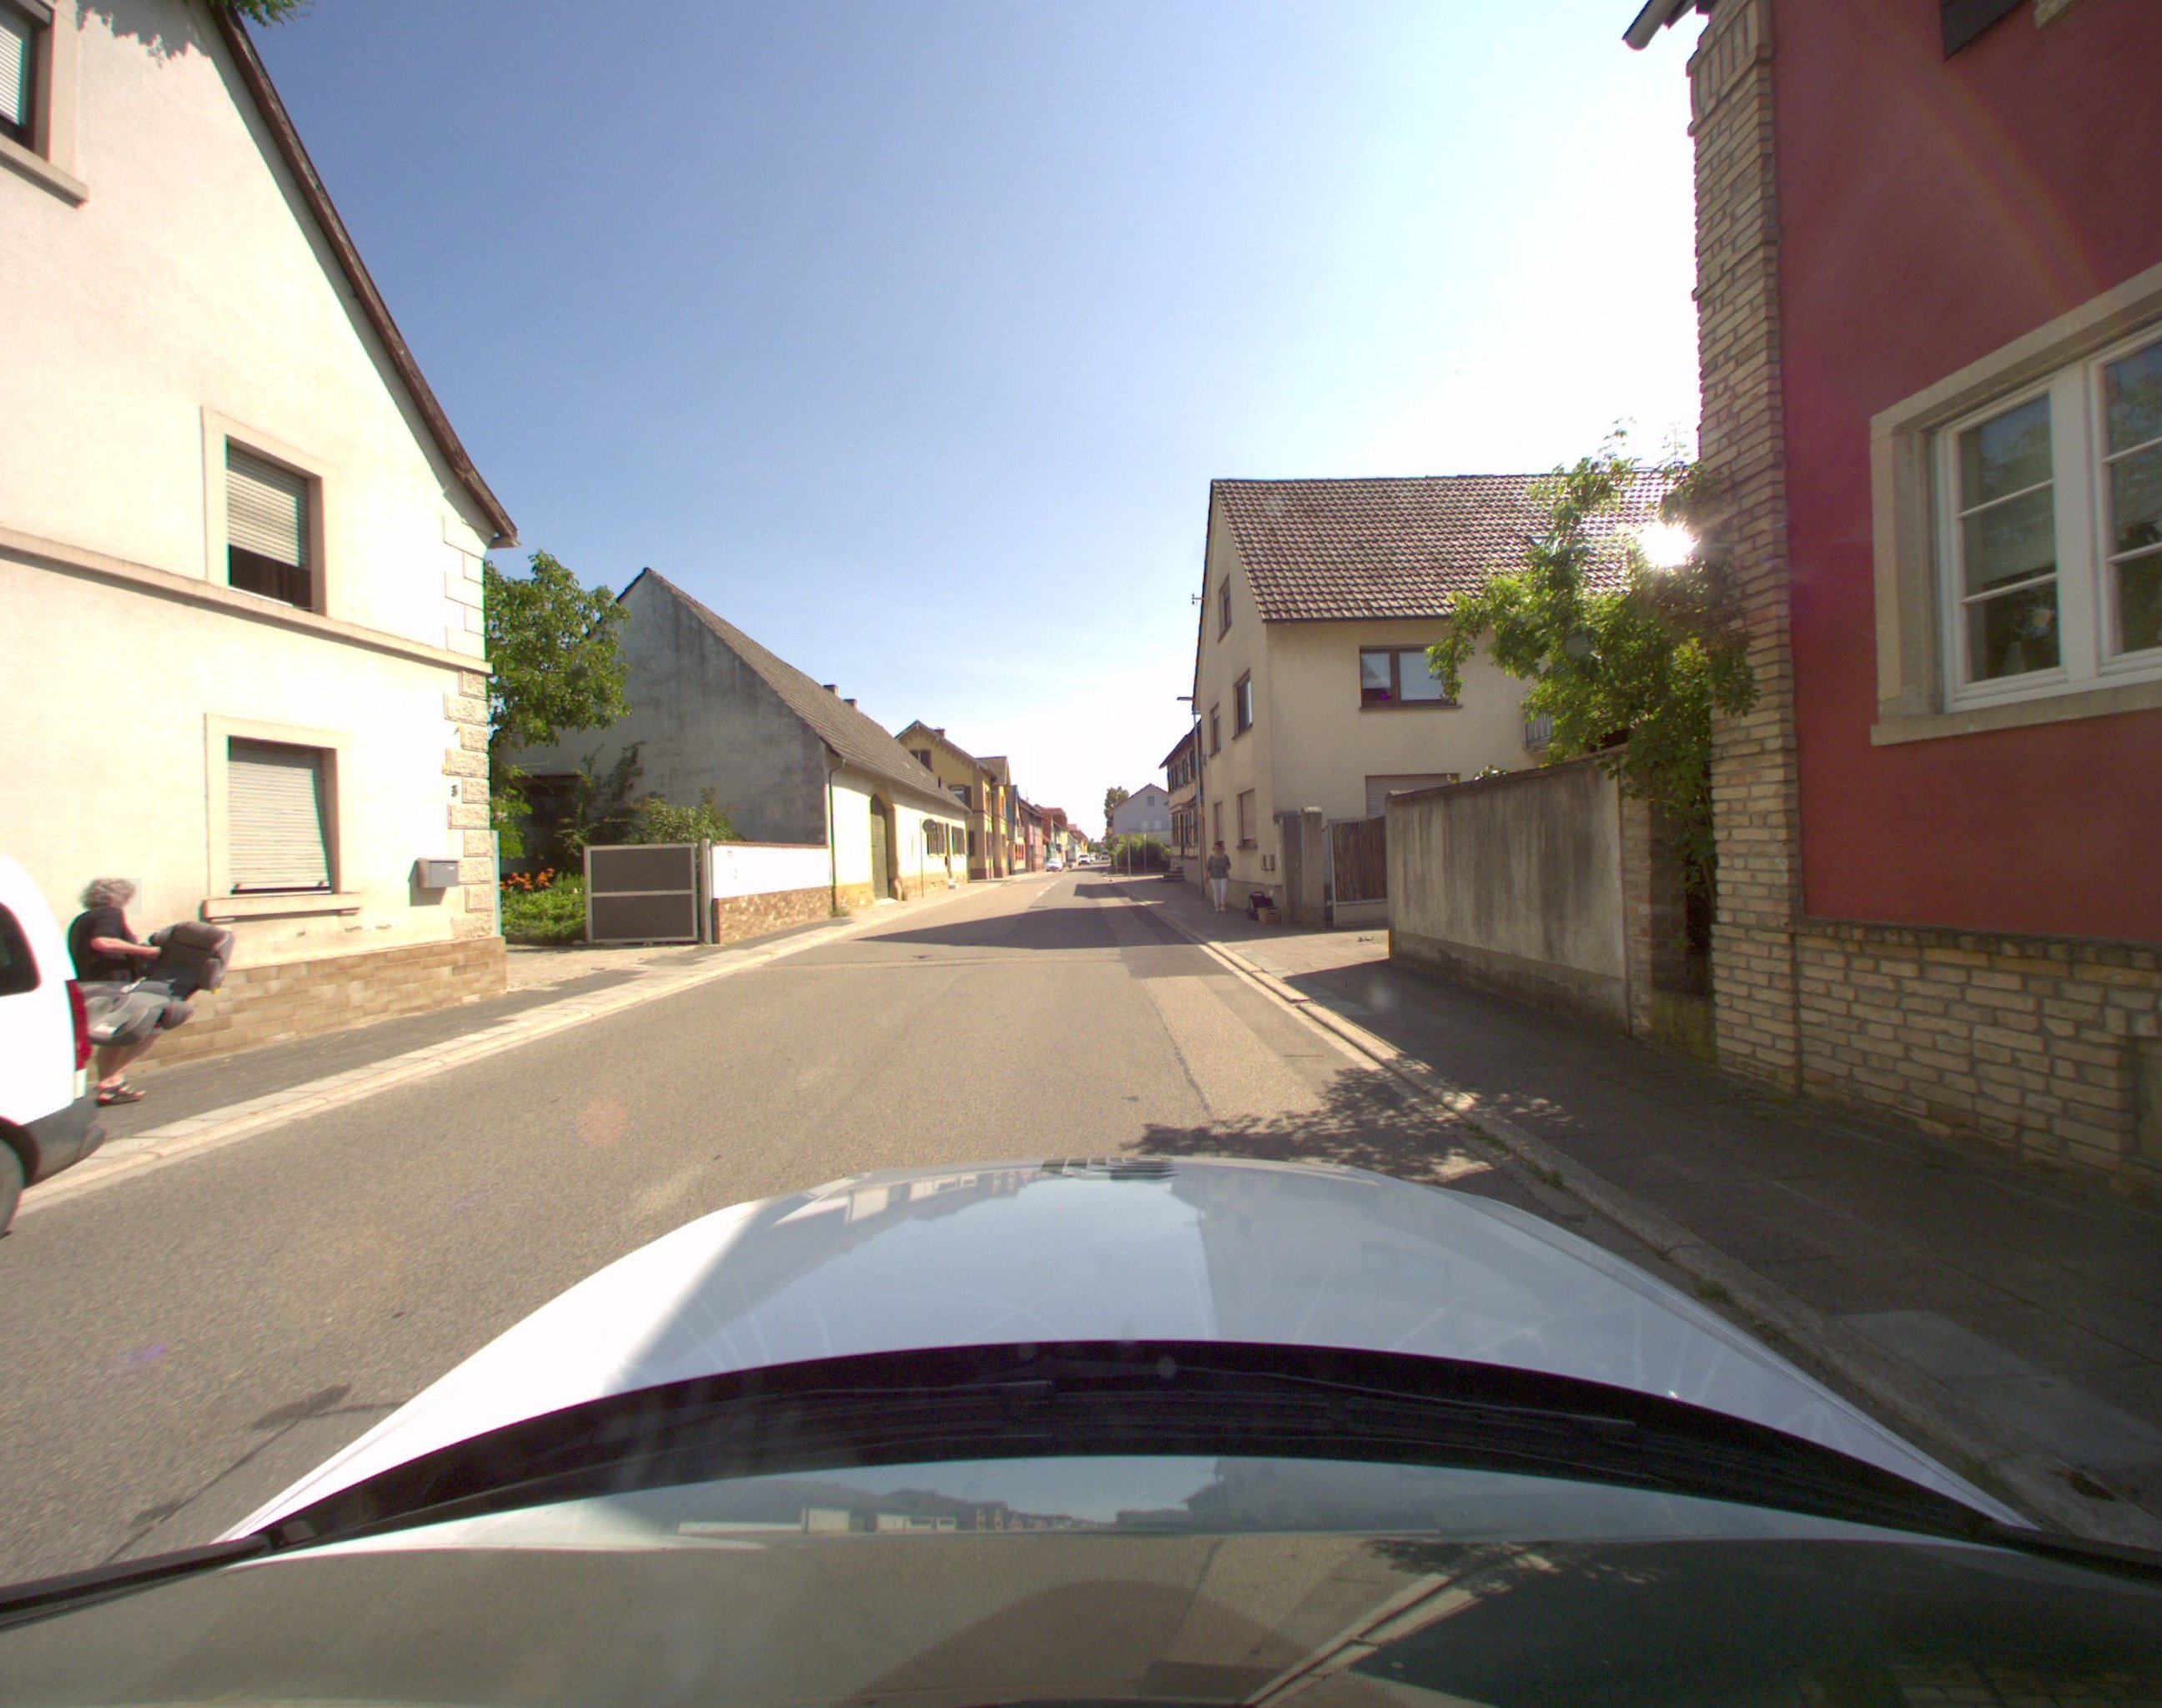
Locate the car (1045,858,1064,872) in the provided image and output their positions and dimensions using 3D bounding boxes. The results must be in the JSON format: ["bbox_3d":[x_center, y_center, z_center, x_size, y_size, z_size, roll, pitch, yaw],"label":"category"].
[{"bbox_3d":[-3.146,1.276,96.639,1.987,1.442,4.000,-3,0,0],"label":"car"}]

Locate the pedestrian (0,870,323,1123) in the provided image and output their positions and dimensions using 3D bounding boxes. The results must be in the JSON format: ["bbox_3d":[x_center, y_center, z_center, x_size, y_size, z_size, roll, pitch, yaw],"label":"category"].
[{"bbox_3d":[-6.384,0.915,5.715,1.009,1.552,1.140,-2,0,2],"label":"pedestrian"}]

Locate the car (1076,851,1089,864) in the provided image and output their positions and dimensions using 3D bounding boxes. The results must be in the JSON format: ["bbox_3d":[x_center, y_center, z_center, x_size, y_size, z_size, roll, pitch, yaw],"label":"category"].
[{"bbox_3d":[0.299,0.632,140.529,2.151,2.080,3.998,-3,-2,-1],"label":"car"}]

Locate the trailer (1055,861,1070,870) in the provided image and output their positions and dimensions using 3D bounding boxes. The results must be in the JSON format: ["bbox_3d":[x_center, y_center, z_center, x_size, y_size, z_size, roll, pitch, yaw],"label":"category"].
[{"bbox_3d":[-2.542,1.639,113.176,1.988,1.090,3.999,-2,0,-1],"label":"trailer"}]

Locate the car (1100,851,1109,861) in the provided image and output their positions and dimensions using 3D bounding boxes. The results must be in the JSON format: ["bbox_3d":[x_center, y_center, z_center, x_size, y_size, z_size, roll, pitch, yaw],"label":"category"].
[{"bbox_3d":[6.141,0.553,214.302,2.011,2.567,3.999,-3,0,0],"label":"car"}]

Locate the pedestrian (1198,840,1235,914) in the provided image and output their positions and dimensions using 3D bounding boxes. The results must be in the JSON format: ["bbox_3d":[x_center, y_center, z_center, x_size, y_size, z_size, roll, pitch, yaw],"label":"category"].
[{"bbox_3d":[3.152,0.519,19.046,0.716,1.664,0.893,-2,0,3],"label":"pedestrian"}]

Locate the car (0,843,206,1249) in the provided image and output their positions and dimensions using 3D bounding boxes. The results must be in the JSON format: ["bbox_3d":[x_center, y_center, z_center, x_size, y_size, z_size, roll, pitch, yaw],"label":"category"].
[{"bbox_3d":[-5.334,0.809,1.846,1.849,1.647,4.429,-2,0,0],"label":"car"}]

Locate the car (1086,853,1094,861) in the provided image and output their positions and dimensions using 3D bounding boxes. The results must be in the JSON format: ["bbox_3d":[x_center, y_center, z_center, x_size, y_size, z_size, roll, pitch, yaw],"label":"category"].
[{"bbox_3d":[2.102,0.775,189.188,1.986,1.750,4.001,-2,0,1],"label":"car"}]

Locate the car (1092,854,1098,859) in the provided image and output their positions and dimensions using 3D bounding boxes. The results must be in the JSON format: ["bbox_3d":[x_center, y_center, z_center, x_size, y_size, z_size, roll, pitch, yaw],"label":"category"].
[{"bbox_3d":[4.271,0.781,249.848,1.861,1.544,3.838,-3,0,0],"label":"car"}]
